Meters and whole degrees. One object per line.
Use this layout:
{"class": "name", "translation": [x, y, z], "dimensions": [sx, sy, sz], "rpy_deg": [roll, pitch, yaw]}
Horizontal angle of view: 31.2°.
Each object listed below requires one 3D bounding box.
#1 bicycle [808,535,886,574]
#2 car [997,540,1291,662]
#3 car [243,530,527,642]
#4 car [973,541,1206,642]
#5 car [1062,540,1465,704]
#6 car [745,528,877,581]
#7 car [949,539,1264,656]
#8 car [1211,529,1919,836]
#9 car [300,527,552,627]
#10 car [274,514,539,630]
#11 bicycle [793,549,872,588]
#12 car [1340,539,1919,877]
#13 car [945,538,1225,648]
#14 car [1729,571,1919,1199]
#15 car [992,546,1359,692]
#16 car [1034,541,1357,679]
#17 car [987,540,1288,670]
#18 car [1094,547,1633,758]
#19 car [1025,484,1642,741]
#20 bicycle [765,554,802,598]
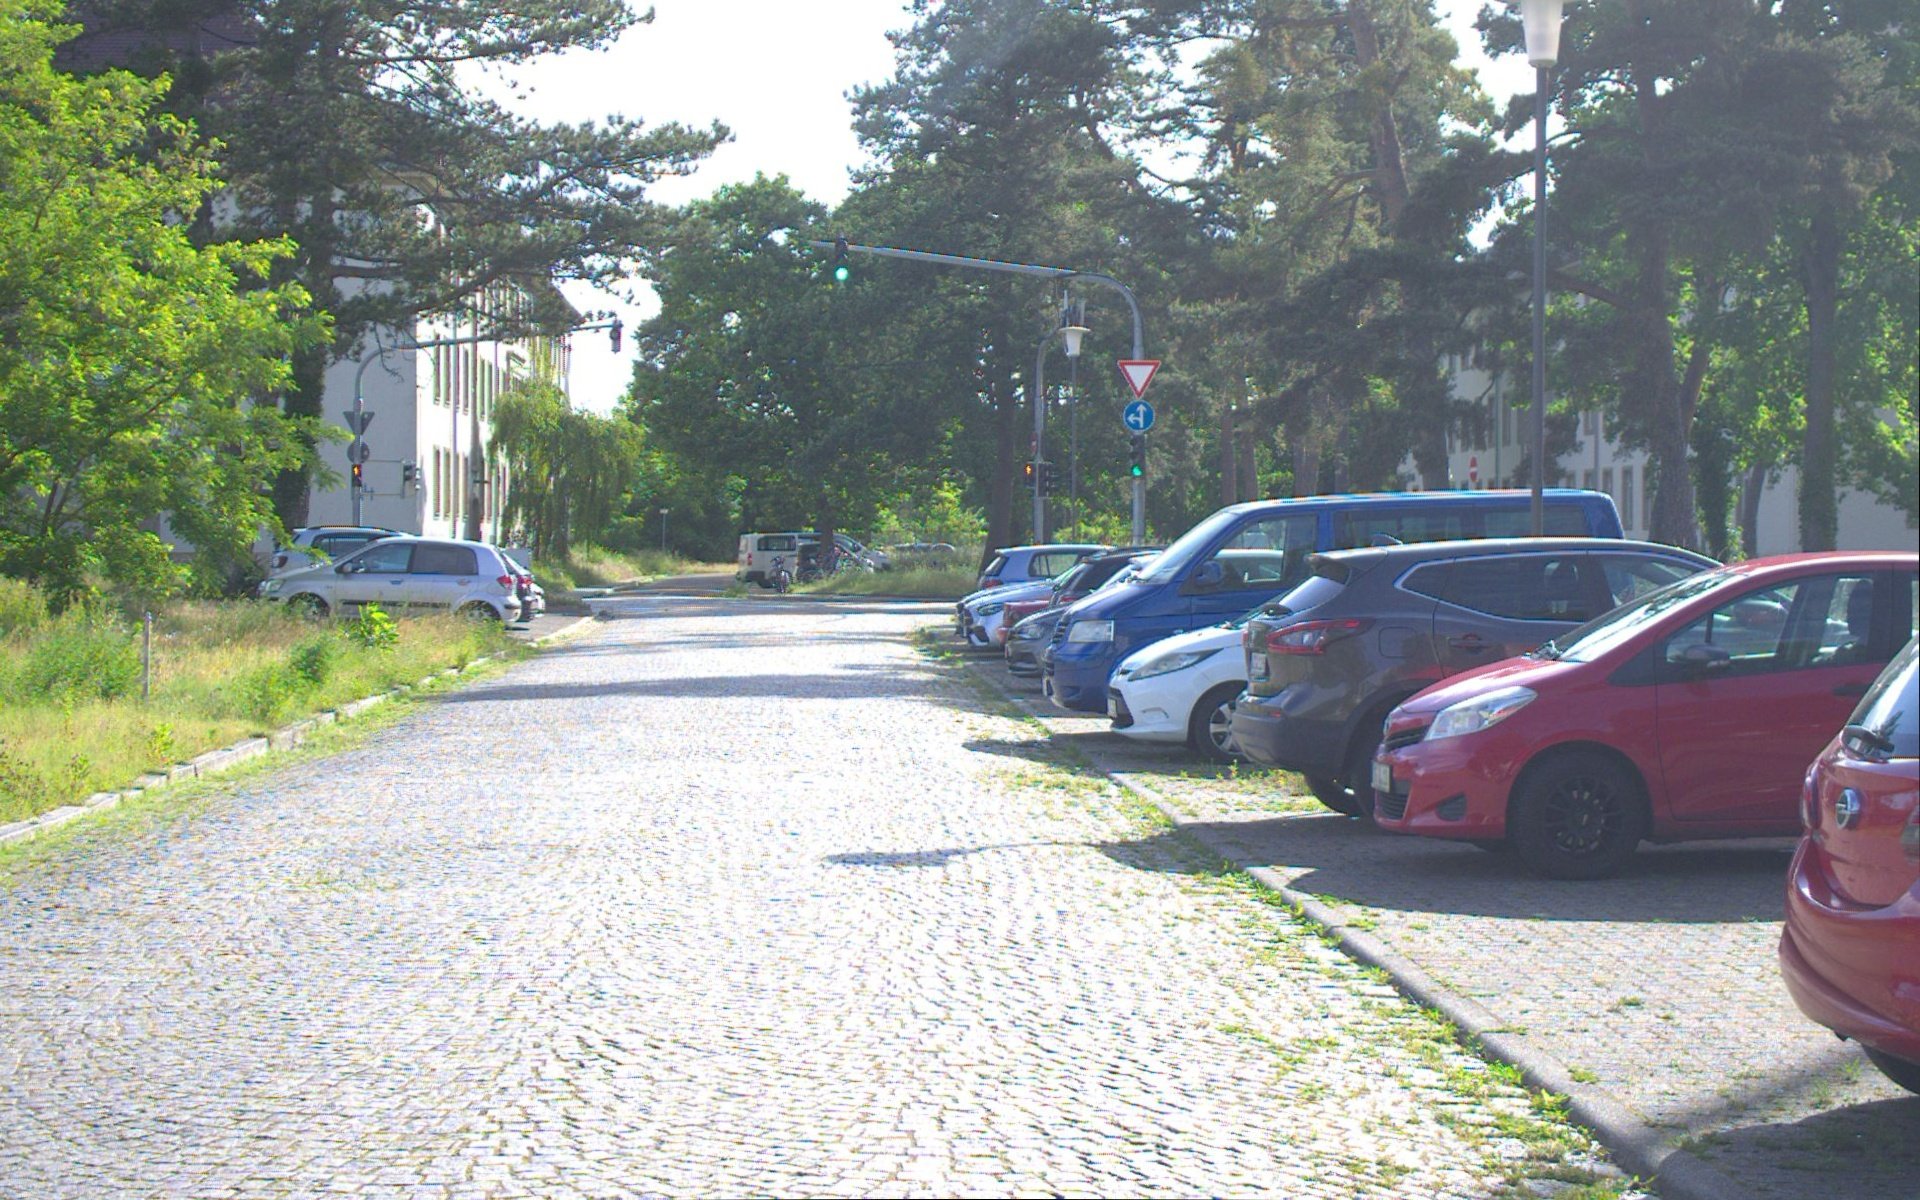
{"class": "bicycle", "translation": [-3.346, -1.354, 101.811], "dimensions": [2.172, 1.096, 0.807], "rpy_deg": [1, 1, -12]}
{"class": "car", "translation": [2.348, 0.001, 44.355], "dimensions": [3.602, 1.524, 1.646], "rpy_deg": [0, 1, -4]}
{"class": "car", "translation": [-8.418, -0.214, 50.618], "dimensions": [3.986, 1.595, 2.000], "rpy_deg": [0, 1, -5]}
{"class": "car", "translation": [1.925, -0.139, 51.834], "dimensions": [3.343, 1.477, 1.646], "rpy_deg": [0, 1, -4]}
{"class": "car", "translation": [2.904, 0.191, 33.409], "dimensions": [3.694, 1.461, 1.646], "rpy_deg": [-1, 1, -2]}
{"class": "car", "translation": [-5.132, -1.572, 118.057], "dimensions": [4.480, 1.722, 2.000], "rpy_deg": [1, 1, -3]}
{"class": "car", "translation": [1.954, -0.040, 46.419], "dimensions": [4.033, 1.524, 1.646], "rpy_deg": [0, 1, -6]}
{"class": "car", "translation": [3.486, 0.426, 19.146], "dimensions": [3.935, 1.616, 1.772], "rpy_deg": [0, 1, -4]}
{"class": "car", "translation": [-9.032, -0.402, 58.389], "dimensions": [3.986, 1.448, 2.000], "rpy_deg": [3, 1, -3]}
{"class": "car", "translation": [-8.977, -0.459, 55.987], "dimensions": [3.986, 1.596, 2.000], "rpy_deg": [4, 1, -3]}
{"class": "bicycle", "translation": [-3.730, -0.929, 100.634], "dimensions": [2.172, 1.096, 0.807], "rpy_deg": [1, 1, -12]}
{"class": "car", "translation": [3.838, 0.484, 16.483], "dimensions": [3.762, 1.525, 1.646], "rpy_deg": [0, 1, -4]}
{"class": "car", "translation": [1.759, -0.107, 49.184], "dimensions": [3.835, 1.524, 1.646], "rpy_deg": [0, 1, -4]}
{"class": "car", "translation": [4.110, 0.661, 8.895], "dimensions": [3.826, 1.473, 1.646], "rpy_deg": [0, 1, -3]}
{"class": "car", "translation": [2.237, 0.181, 36.272], "dimensions": [3.674, 1.462, 1.646], "rpy_deg": [-1, 1, -4]}
{"class": "car", "translation": [2.654, 0.100, 39.211], "dimensions": [3.477, 1.524, 1.646], "rpy_deg": [0, 1, -4]}
{"class": "car", "translation": [2.134, 0.045, 41.883], "dimensions": [3.477, 1.524, 1.646], "rpy_deg": [0, 1, -4]}
{"class": "car", "translation": [2.946, 0.359, 25.548], "dimensions": [3.718, 1.483, 1.646], "rpy_deg": [0, 1, -5]}
{"class": "car", "translation": [2.985, 0.089, 28.140], "dimensions": [4.676, 2.007, 2.084], "rpy_deg": [0, 1, -6]}
{"class": "bicycle", "translation": [-4.953, -0.685, 96.410], "dimensions": [0.804, 1.165, 2.181], "rpy_deg": [-2, 1, -9]}
